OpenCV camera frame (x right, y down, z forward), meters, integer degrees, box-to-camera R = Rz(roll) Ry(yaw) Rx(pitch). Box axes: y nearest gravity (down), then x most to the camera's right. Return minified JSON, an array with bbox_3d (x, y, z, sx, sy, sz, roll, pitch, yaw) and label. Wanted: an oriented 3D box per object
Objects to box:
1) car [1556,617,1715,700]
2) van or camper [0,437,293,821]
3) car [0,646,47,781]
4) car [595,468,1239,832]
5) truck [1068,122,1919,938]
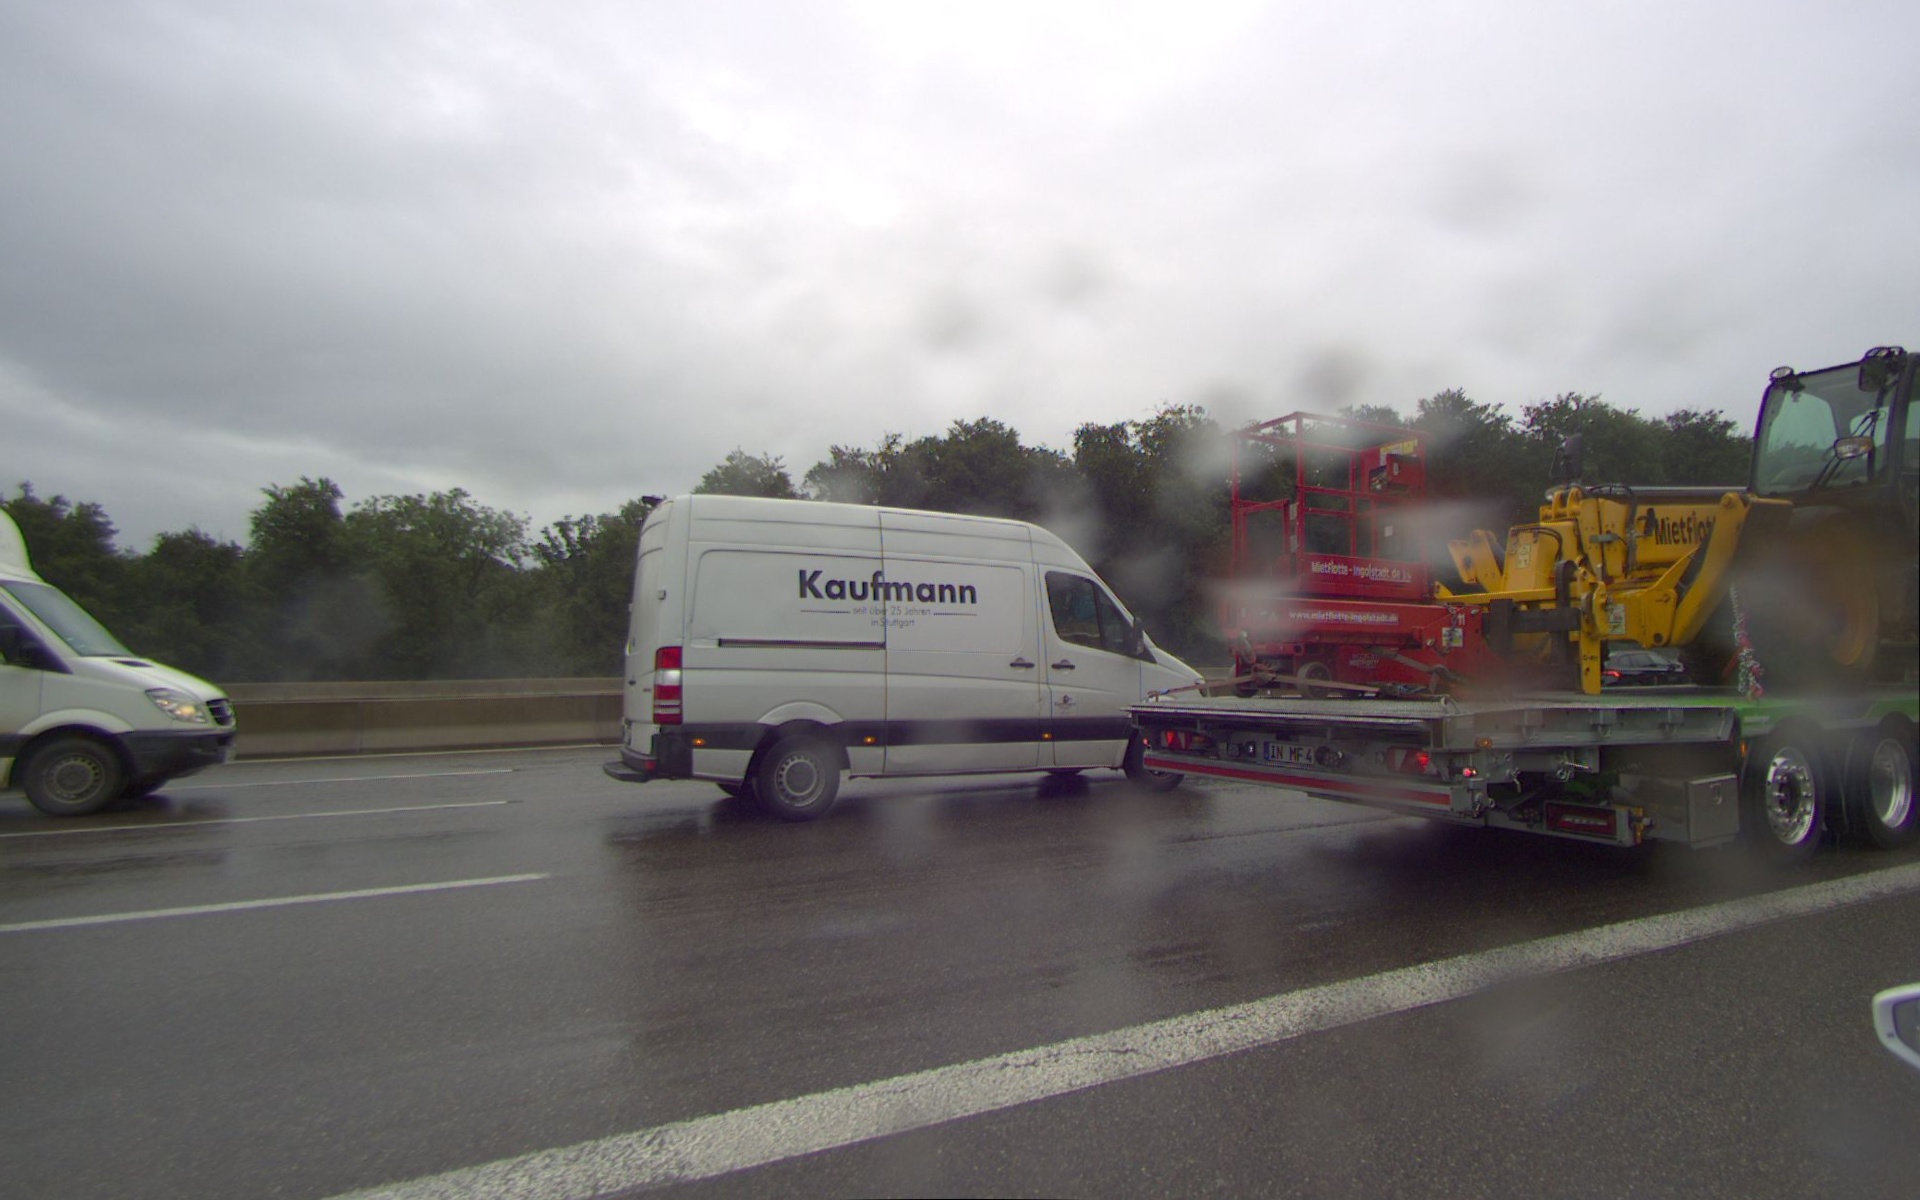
[{"bbox_3d":[18.262,1.578,27.159,3.948,2.040,1.792,3,-1,-26],"label":"car"},{"bbox_3d":[-10.328,0.241,8.834,7.037,3.245,2.571,2,-3,-26],"label":"van or camper"},{"bbox_3d":[-13.094,1.258,10.899,4.355,1.542,1.611,2,-3,-25],"label":"car"},{"bbox_3d":[-0.317,0.486,9.621,5.766,2.664,2.209,2,-3,-26],"label":"car"},{"bbox_3d":[6.566,-0.129,8.374,11.645,3.635,2.822,2,-4,-27],"label":"truck"}]
